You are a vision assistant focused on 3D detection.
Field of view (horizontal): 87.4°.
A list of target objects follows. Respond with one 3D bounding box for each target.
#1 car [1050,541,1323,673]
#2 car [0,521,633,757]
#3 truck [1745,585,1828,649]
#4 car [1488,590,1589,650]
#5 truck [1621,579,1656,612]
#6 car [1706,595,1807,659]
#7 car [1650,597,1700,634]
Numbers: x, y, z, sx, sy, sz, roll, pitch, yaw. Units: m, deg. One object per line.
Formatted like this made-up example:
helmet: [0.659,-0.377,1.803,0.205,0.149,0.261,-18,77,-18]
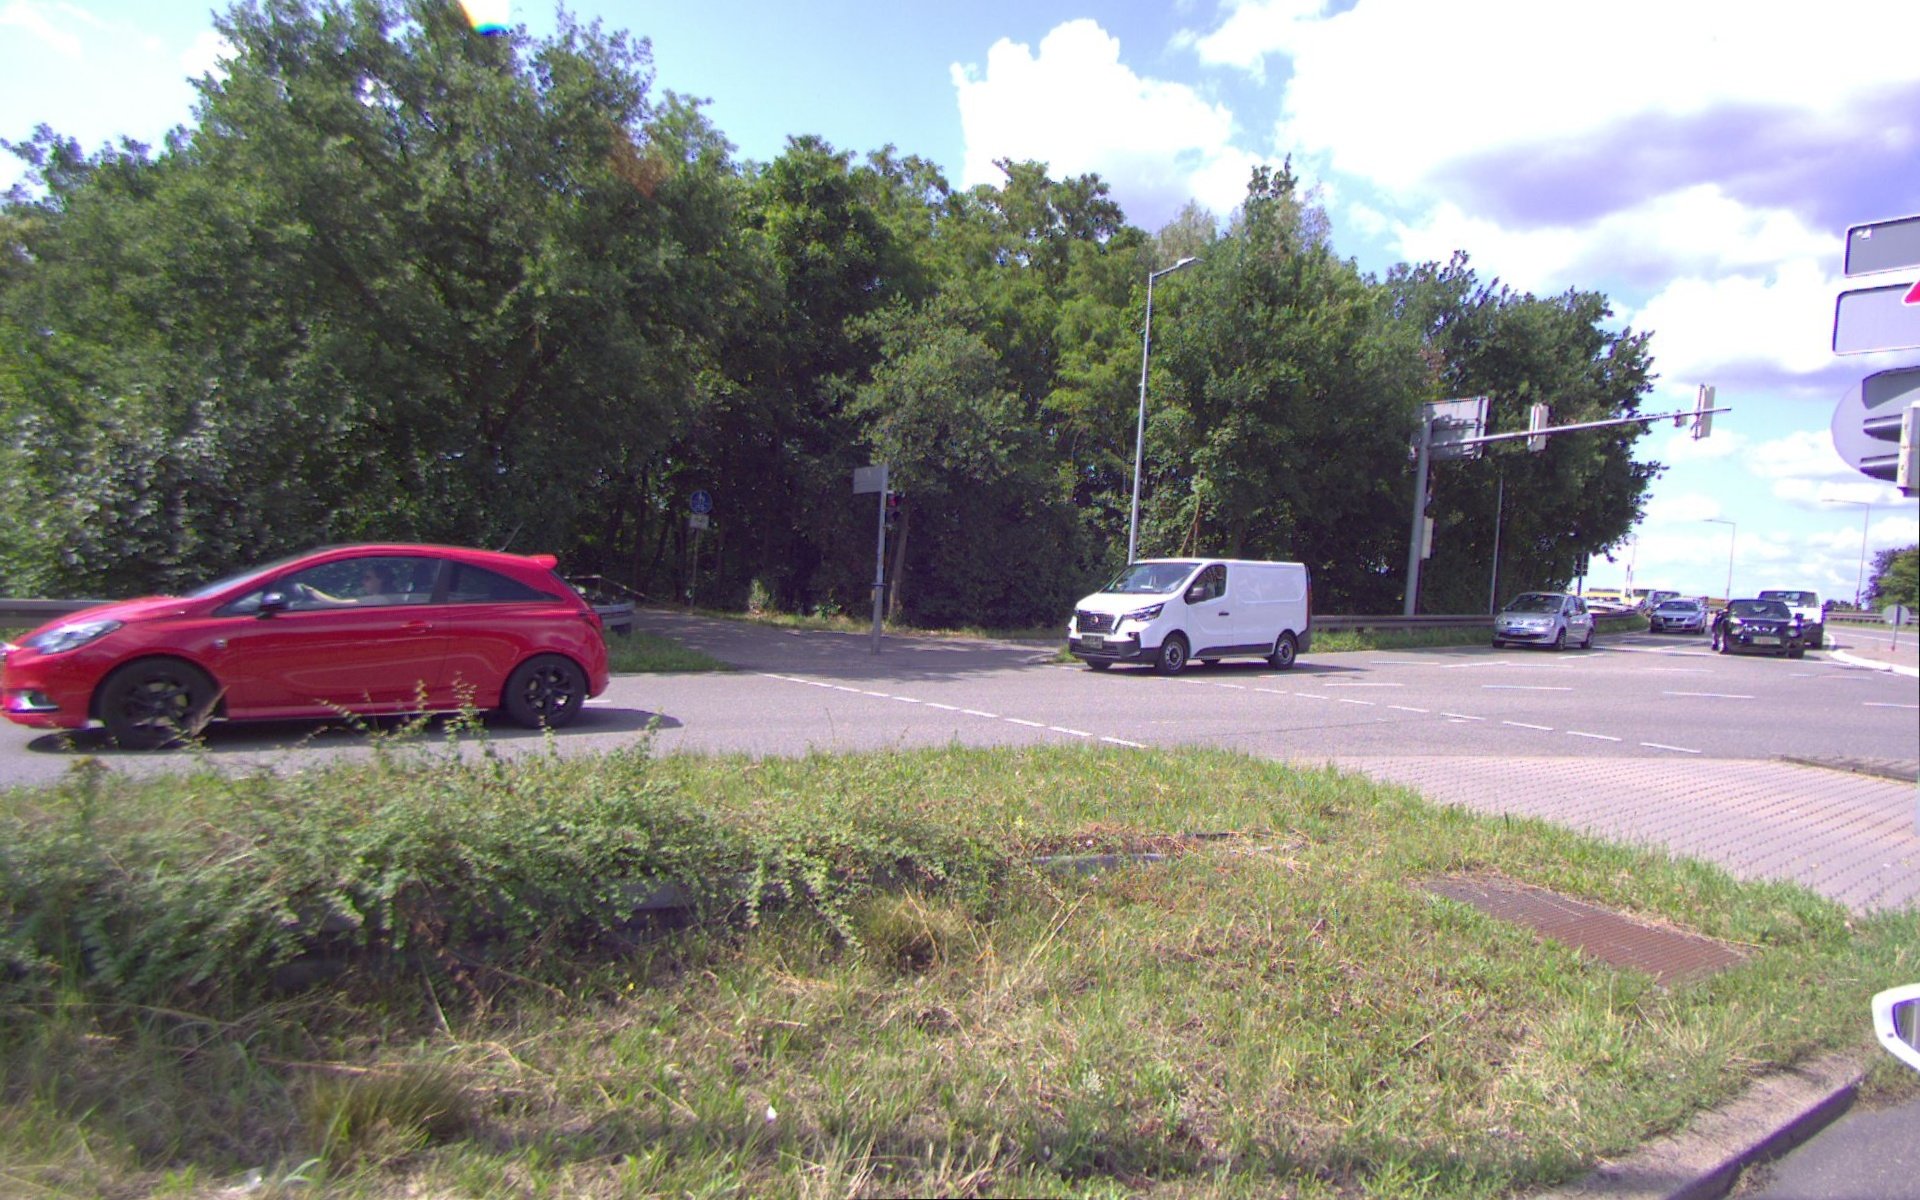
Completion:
car: [4.147,0.150,17.902,5.090,2.040,1.978,2,0,-38]
car: [-4.832,0.257,7.955,3.963,1.451,1.569,1,1,-37]
truck: [27.743,0.518,33.748,1.937,1.939,5.345,3,2,39]
car: [16.191,0.521,28.028,1.713,1.541,4.047,1,0,41]
truck: [57.740,-0.427,85.515,1.964,2.656,6.091,1,1,30]
car: [22.142,0.678,28.045,1.673,1.578,3.813,3,2,31]
car: [31.379,0.649,44.034,1.660,1.498,4.695,1,1,36]
